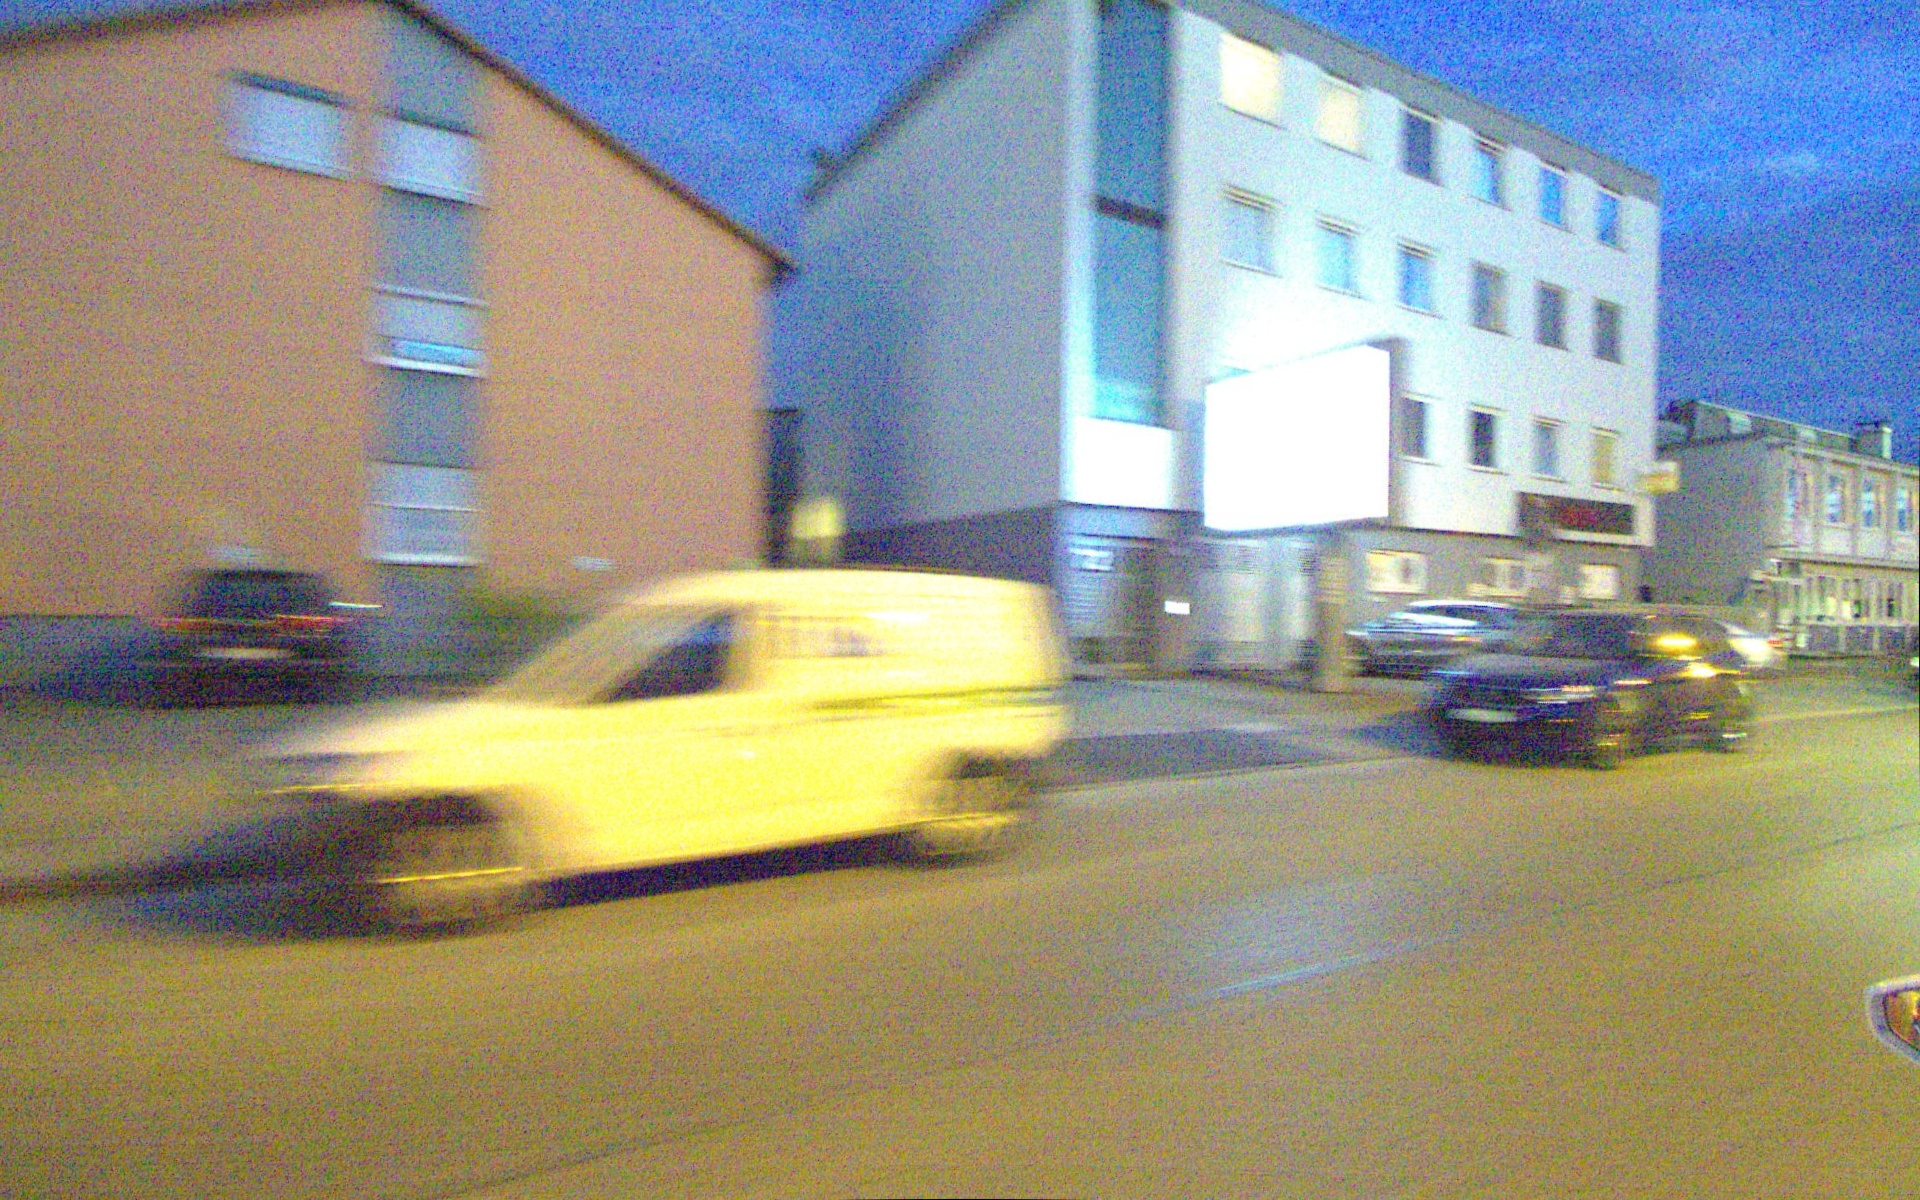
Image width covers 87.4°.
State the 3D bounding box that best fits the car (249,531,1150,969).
[{"bbox_3d":[-1.286,0.665,6.166,4.819,1.822,1.796,1,-1,-30],"label":"car"}]

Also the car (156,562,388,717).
[{"bbox_3d":[-8.788,0.453,13.227,1.897,1.675,4.385,1,-1,-26],"label":"car"}]

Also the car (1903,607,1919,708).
[{"bbox_3d":[19.912,1.104,19.096,4.364,1.873,1.804,1,-1,-31],"label":"car"}]

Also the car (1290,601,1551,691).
[{"bbox_3d":[8.961,0.824,19.665,4.344,1.580,1.993,0,-1,37],"label":"car"}]

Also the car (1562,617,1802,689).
[{"bbox_3d":[16.430,1.161,23.167,4.338,1.459,1.789,0,-1,32],"label":"car"}]

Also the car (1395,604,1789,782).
[{"bbox_3d":[7.443,0.938,11.720,4.759,1.711,1.938,1,-1,-30],"label":"car"}]

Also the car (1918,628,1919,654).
[{"bbox_3d":[37.443,1.454,36.004,1.863,1.452,4.132,1,3,-11],"label":"car"}]

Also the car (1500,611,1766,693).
[{"bbox_3d":[14.359,1.050,21.751,4.591,1.571,1.995,0,-1,32],"label":"car"}]

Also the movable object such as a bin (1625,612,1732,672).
[{"bbox_3d":[19.296,1.099,27.014,1.590,1.520,1.849,1,0,-29],"label":"movable object such as a bin"}]
